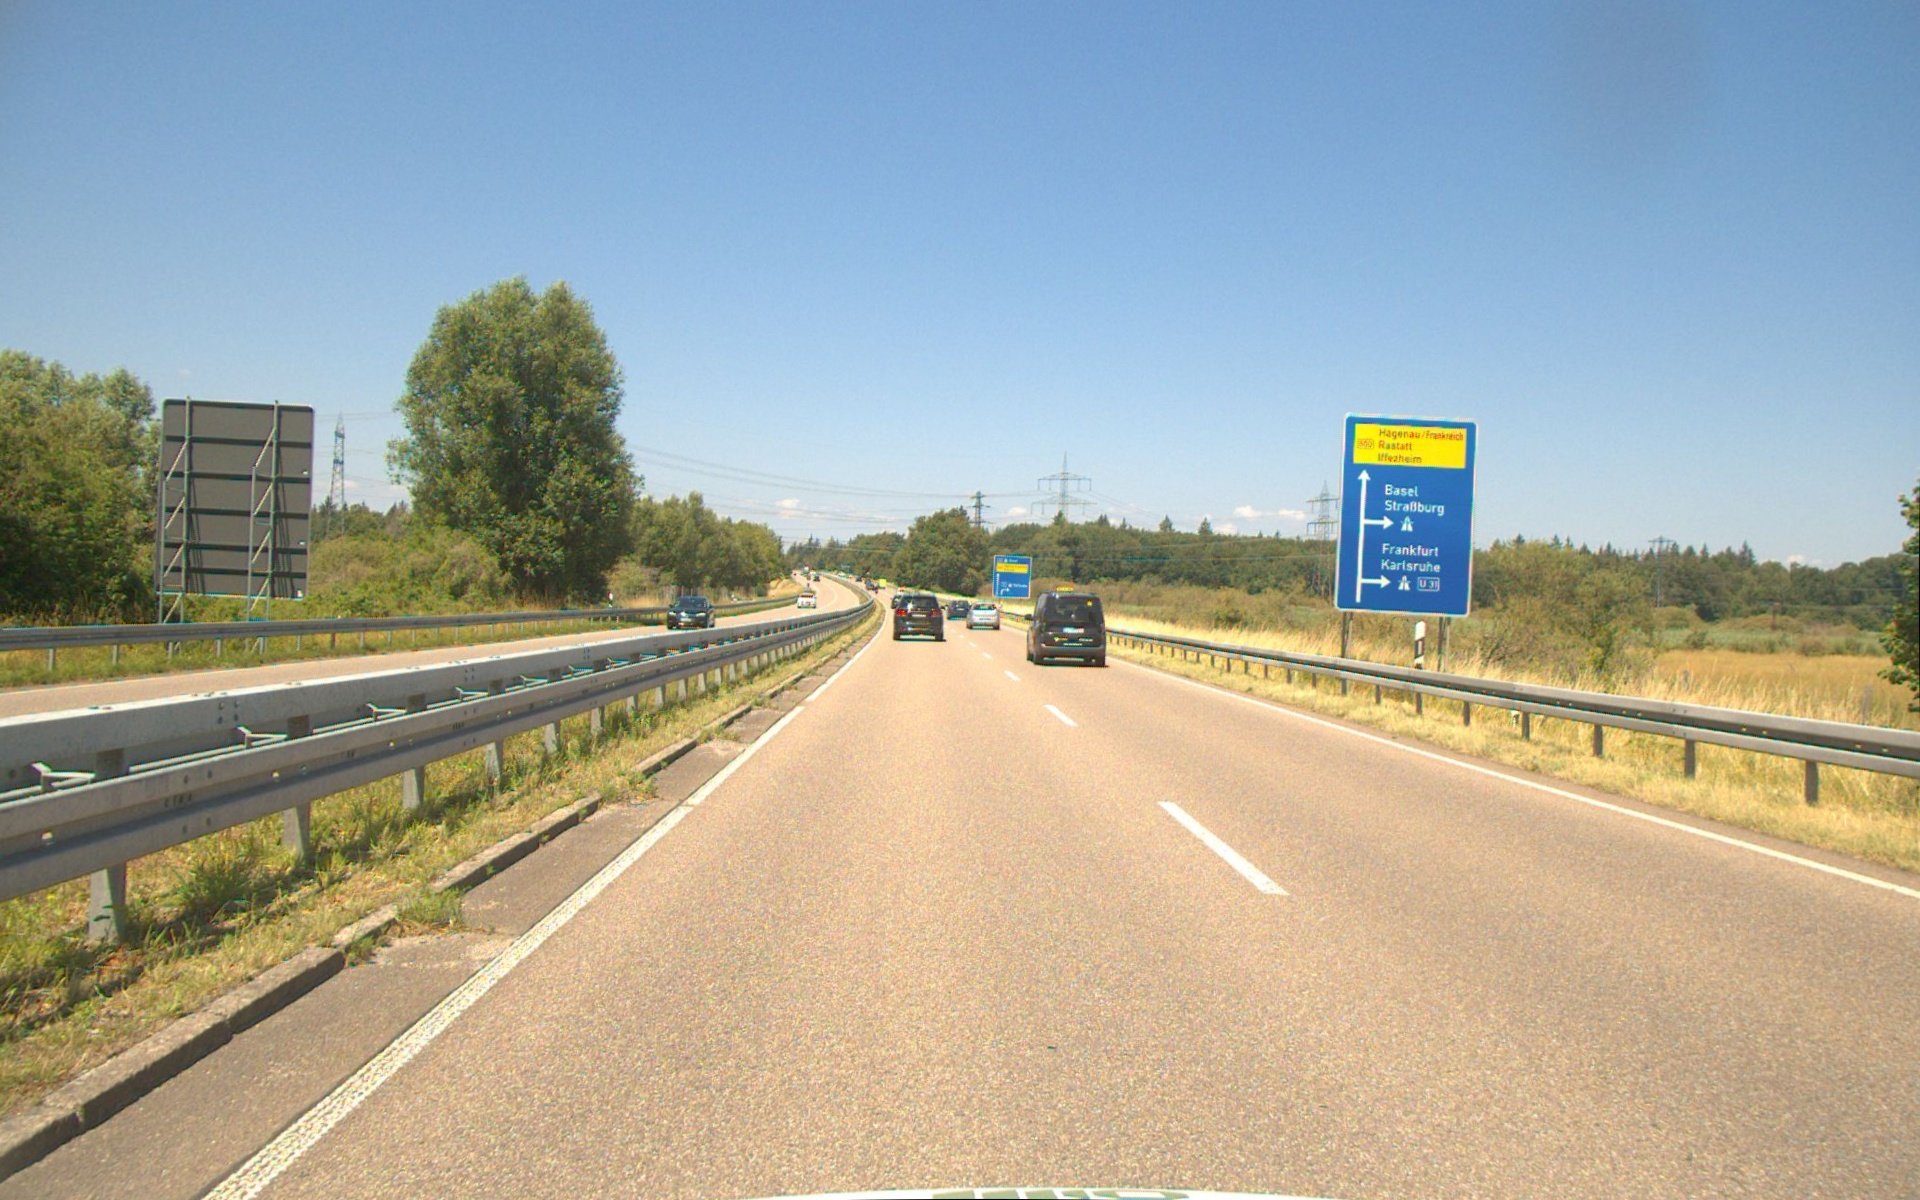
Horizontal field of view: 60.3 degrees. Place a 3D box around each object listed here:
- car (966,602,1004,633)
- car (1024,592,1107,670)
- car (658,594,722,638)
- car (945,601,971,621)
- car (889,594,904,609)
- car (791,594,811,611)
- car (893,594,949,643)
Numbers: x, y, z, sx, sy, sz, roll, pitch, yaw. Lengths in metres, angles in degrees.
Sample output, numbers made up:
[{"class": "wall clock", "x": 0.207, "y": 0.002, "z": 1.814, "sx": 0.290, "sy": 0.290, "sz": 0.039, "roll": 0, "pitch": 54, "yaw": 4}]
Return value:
[{"class": "car", "x": 1.333, "y": 0.925, "z": 89.596, "sx": 1.743, "sy": 1.505, "sz": 4.313, "roll": 4, "pitch": 0, "yaw": -3}, {"class": "car", "x": 2.668, "y": 0.758, "z": 42.446, "sx": 1.744, "sy": 1.848, "sz": 4.212, "roll": 2, "pitch": 0, "yaw": -1}, {"class": "car", "x": -11.776, "y": 0.667, "z": 72.391, "sx": 1.954, "sy": 1.665, "sz": 4.872, "roll": 5, "pitch": 0, "yaw": -1}, {"class": "car", "x": -0.170, "y": 0.791, "z": 120.746, "sx": 1.783, "sy": 1.439, "sz": 3.999, "roll": 1, "pitch": 0, "yaw": -2}, {"class": "car", "x": -6.967, "y": 0.161, "z": 180.762, "sx": 1.485, "sy": 1.500, "sz": 3.064, "roll": 5, "pitch": 0, "yaw": -3}, {"class": "car", "x": -16.154, "y": 0.248, "z": 168.289, "sx": 1.790, "sy": 1.524, "sz": 4.100, "roll": 3, "pitch": 0, "yaw": -2}, {"class": "car", "x": -1.508, "y": 0.696, "z": 62.904, "sx": 1.954, "sy": 1.683, "sz": 3.998, "roll": 4, "pitch": 0, "yaw": -3}]
